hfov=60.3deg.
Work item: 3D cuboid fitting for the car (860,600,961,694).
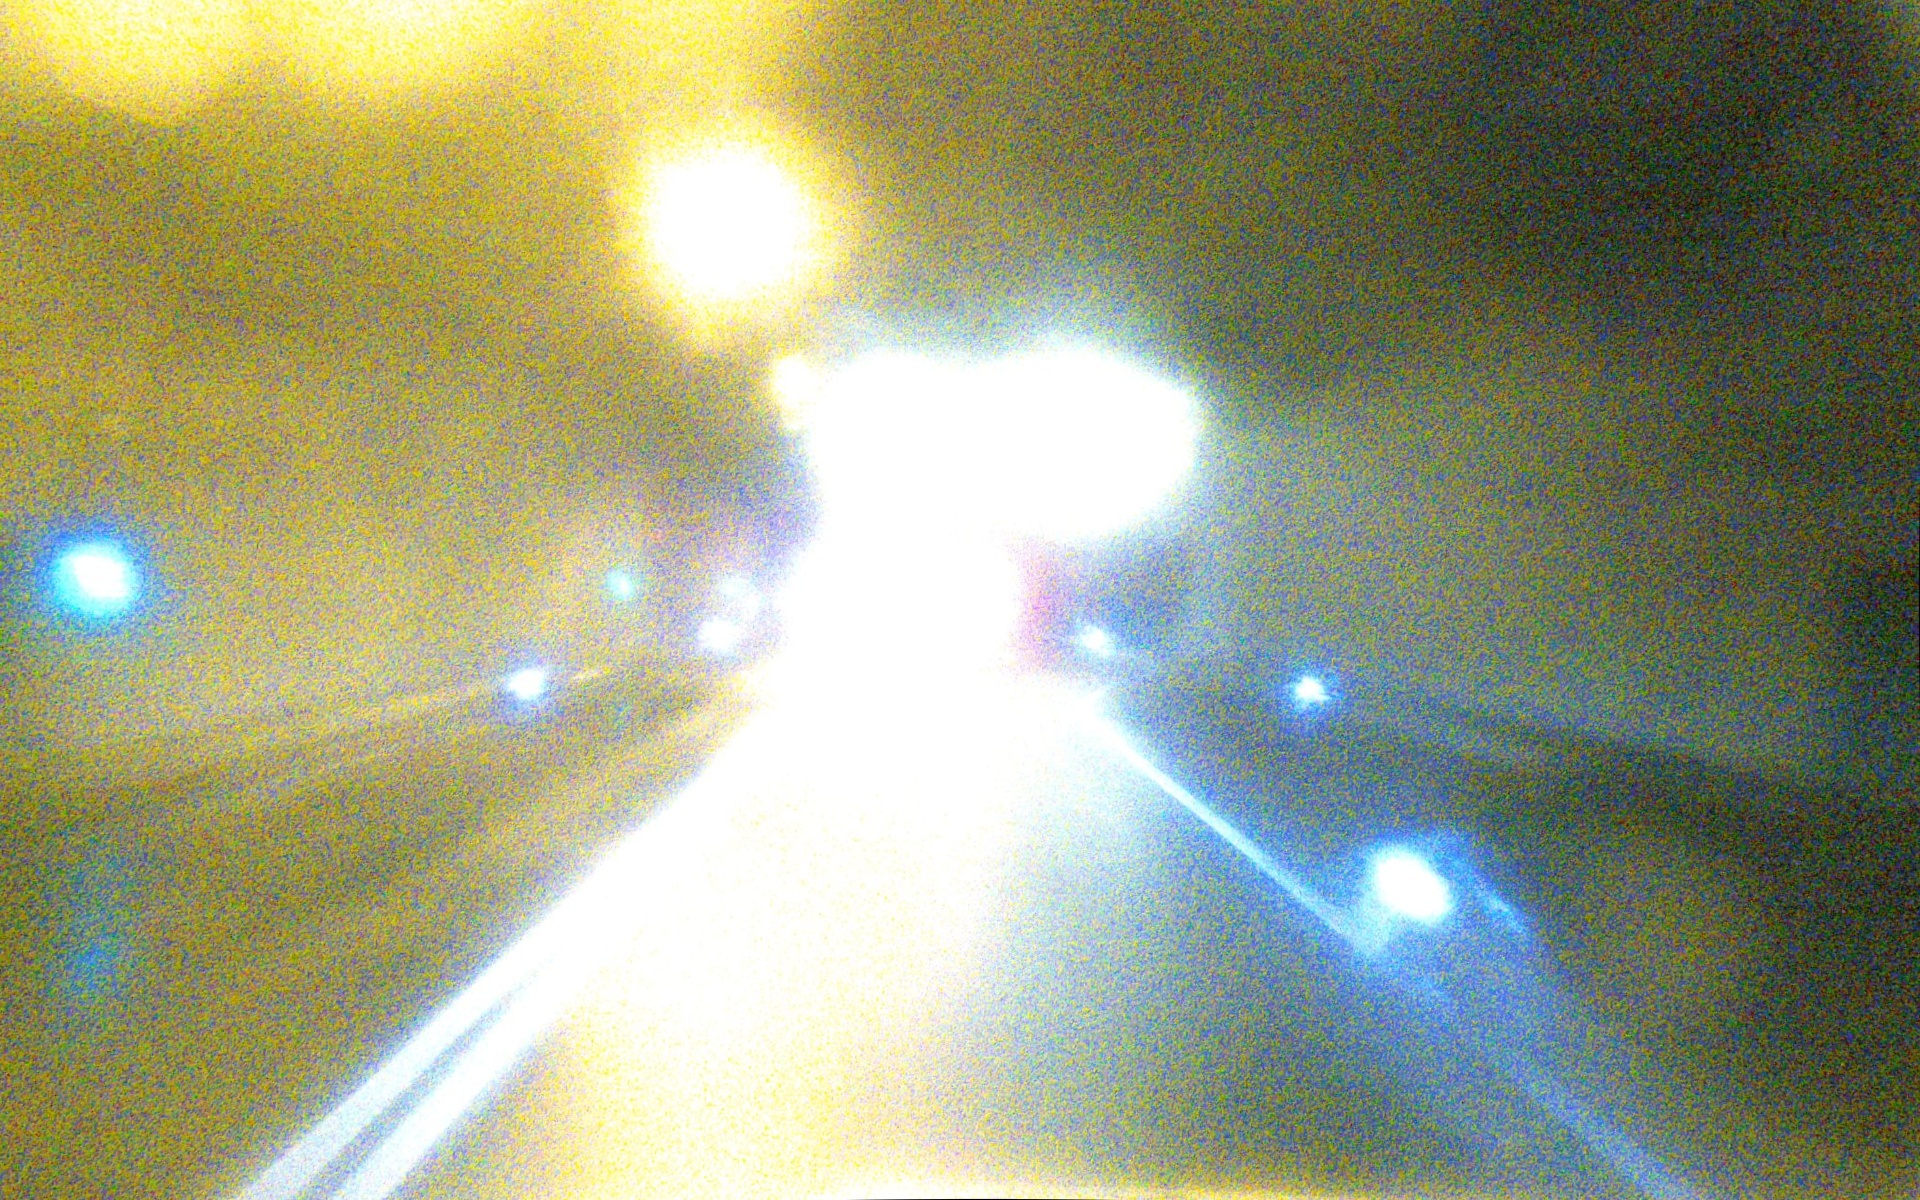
[{"bbox_3d":[-0.893,0.833,31.253,1.772,1.650,3.999,0,0,0],"label":"car"}]
